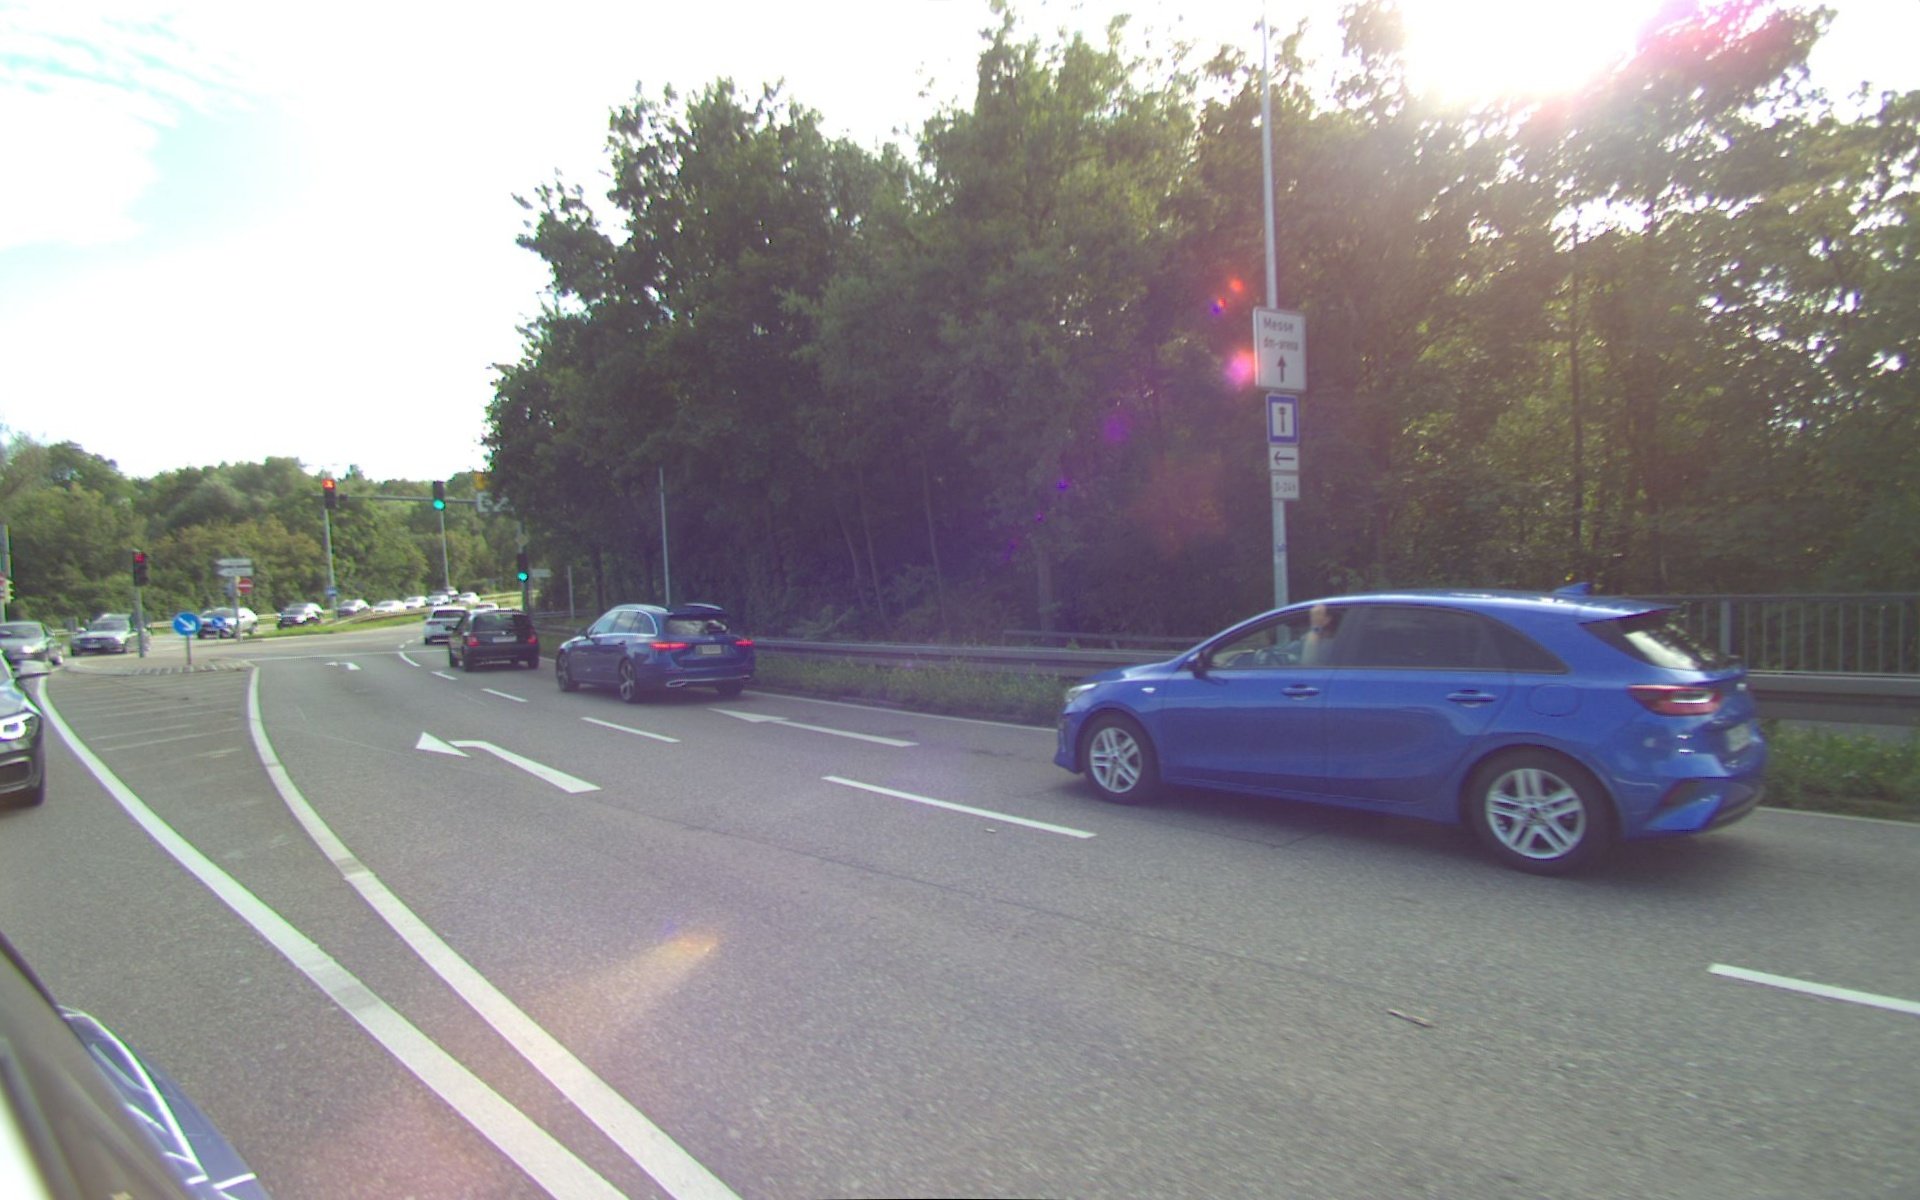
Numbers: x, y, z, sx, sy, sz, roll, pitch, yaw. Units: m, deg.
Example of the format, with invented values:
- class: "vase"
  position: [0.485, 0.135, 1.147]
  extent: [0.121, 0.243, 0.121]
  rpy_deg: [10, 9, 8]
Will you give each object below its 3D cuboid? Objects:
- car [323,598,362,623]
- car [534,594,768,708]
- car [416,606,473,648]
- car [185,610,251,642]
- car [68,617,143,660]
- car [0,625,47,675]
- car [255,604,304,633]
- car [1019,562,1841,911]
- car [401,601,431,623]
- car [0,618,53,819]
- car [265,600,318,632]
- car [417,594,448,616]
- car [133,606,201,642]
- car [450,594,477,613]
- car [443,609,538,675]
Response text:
- class: "car"
  position: [-53.201, 0.878, 87.286]
  extent: [1.966, 2.029, 4.013]
  rpy_deg: [-2, 1, -18]
- class: "car"
  position: [-5.090, 0.735, 16.215]
  extent: [1.792, 1.531, 4.771]
  rpy_deg: [-1, 0, -41]
- class: "car"
  position: [-20.960, 1.048, 41.069]
  extent: [1.789, 1.531, 4.841]
  rpy_deg: [-2, 0, -30]
- class: "car"
  position: [-41.742, 1.439, 57.050]
  extent: [1.965, 1.612, 4.295]
  rpy_deg: [-2, 1, -22]
- class: "car"
  position: [-35.132, 1.539, 41.707]
  extent: [1.614, 1.563, 3.752]
  rpy_deg: [-5, 1, -30]
- class: "car"
  position: [-28.437, 1.471, 30.044]
  extent: [3.785, 1.333, 1.668]
  rpy_deg: [-1, 1, 43]
- class: "car"
  position: [-51.322, 1.372, 76.370]
  extent: [1.966, 2.029, 4.012]
  rpy_deg: [-2, 1, -18]
- class: "car"
  position: [2.621, 0.587, 6.470]
  extent: [1.871, 1.458, 4.365]
  rpy_deg: [-2, 0, -43]
- class: "car"
  position: [-54.830, 1.176, 102.093]
  extent: [1.966, 2.029, 4.013]
  rpy_deg: [-2, 1, -18]
- class: "car"
  position: [-8.731, 0.900, 7.973]
  extent: [3.967, 1.414, 1.764]
  rpy_deg: [-2, 0, 39]
- class: "car"
  position: [-45.360, 1.066, 68.746]
  extent: [1.966, 2.029, 4.286]
  rpy_deg: [-2, 1, -19]
- class: "car"
  position: [-51.389, 0.486, 98.644]
  extent: [1.966, 2.029, 4.012]
  rpy_deg: [-2, 1, -17]
- class: "car"
  position: [-47.205, 1.387, 60.328]
  extent: [1.966, 2.029, 4.013]
  rpy_deg: [-2, 1, -20]
- class: "car"
  position: [-57.982, 0.398, 118.227]
  extent: [1.967, 2.029, 4.010]
  rpy_deg: [-2, 1, -13]
- class: "car"
  position: [-11.242, 0.945, 24.105]
  extent: [1.602, 1.375, 3.784]
  rpy_deg: [-2, 0, -32]
